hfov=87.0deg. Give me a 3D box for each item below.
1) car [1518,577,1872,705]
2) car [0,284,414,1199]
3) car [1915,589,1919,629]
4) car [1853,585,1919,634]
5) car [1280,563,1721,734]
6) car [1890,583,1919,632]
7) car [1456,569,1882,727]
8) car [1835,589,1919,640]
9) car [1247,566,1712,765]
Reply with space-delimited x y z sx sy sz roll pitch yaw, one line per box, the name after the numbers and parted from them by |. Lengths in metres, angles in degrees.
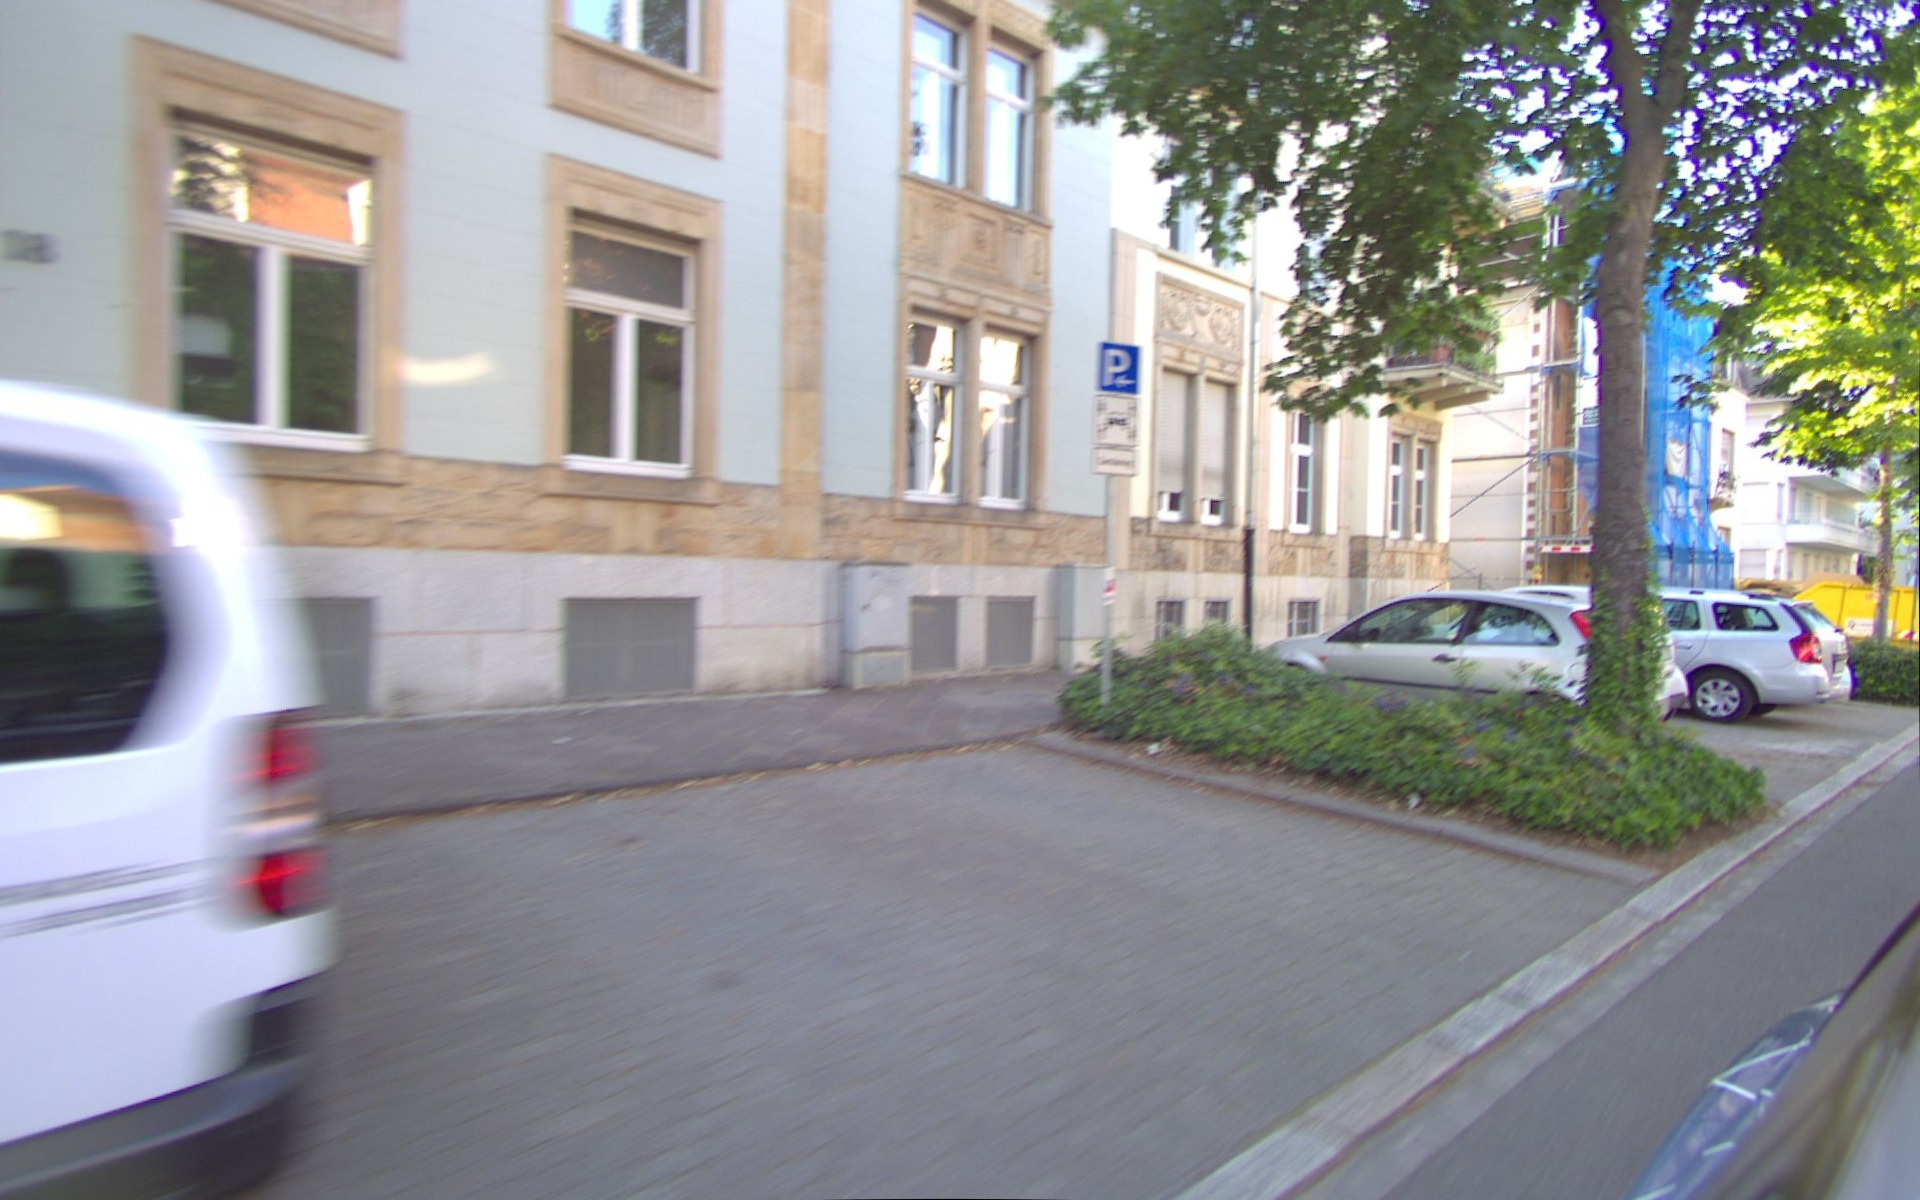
10.688 0.492 14.983 1.655 1.480 3.866 1 3 -35 | car
-3.187 0.312 2.913 1.965 1.829 4.324 0 3 -41 | car
43.956 0.464 43.489 4.174 1.745 1.739 3 2 43 | car
35.483 0.400 36.796 1.677 1.703 4.338 1 3 -43 | car
6.312 0.424 12.259 1.796 1.553 4.324 0 3 -40 | car
41.445 0.353 41.673 1.864 2.039 4.476 0 2 -42 | car
8.908 0.473 13.054 1.656 1.553 4.156 0 3 -38 | car
32.402 0.521 34.098 1.819 1.558 4.165 0 3 -41 | car
5.014 0.483 10.165 1.704 1.480 3.756 0 3 -41 | car
